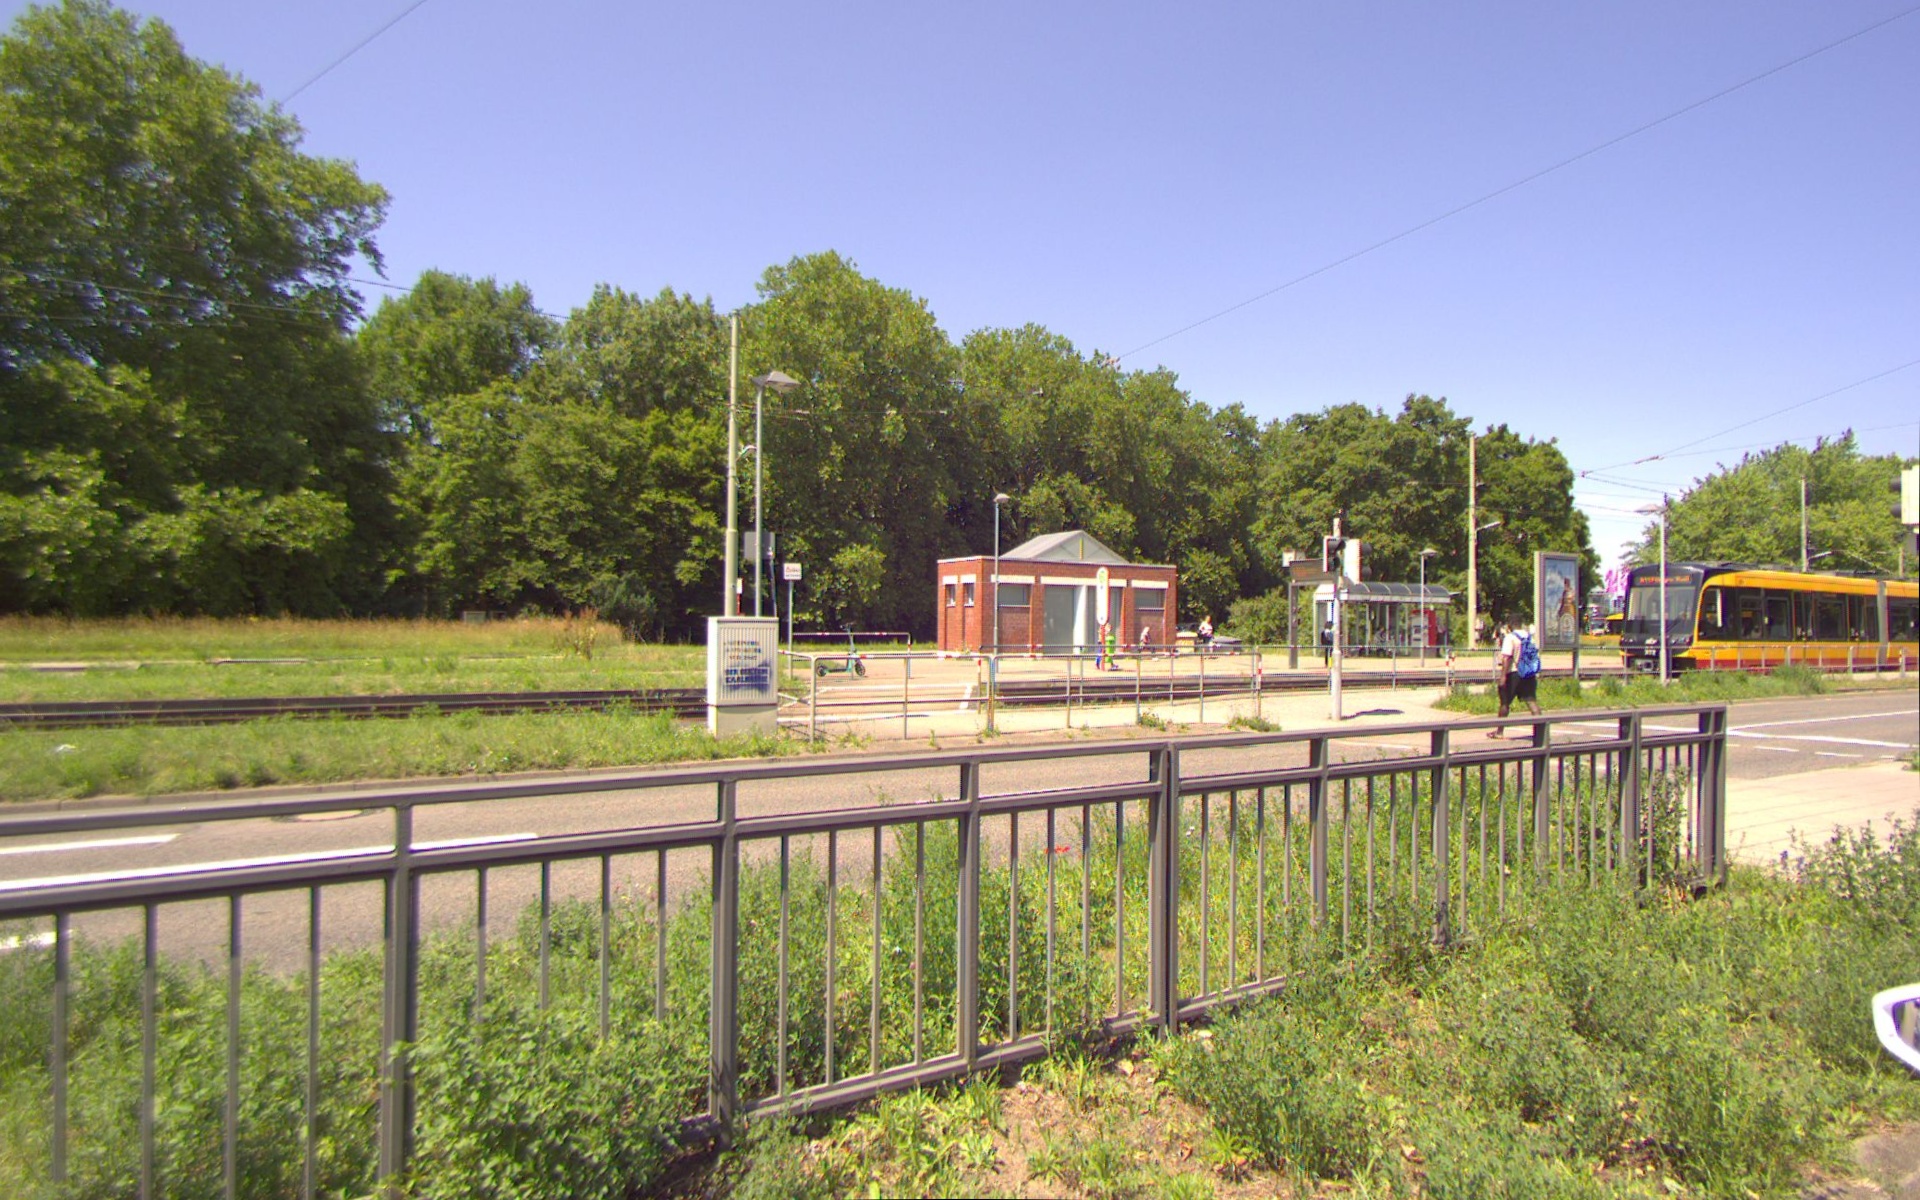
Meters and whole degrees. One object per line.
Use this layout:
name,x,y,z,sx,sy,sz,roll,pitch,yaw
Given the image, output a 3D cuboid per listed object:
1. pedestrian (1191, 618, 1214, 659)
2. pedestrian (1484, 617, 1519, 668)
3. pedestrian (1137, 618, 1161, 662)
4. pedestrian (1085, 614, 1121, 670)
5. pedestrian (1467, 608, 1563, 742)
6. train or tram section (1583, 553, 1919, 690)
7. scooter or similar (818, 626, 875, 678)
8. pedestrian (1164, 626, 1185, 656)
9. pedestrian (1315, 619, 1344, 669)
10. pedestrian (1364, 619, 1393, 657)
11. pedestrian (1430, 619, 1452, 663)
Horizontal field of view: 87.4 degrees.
pedestrian,8.774,1.384,36.293,0.573,1.476,0.639,1,-1,-14
pedestrian,20.028,1.550,37.151,0.832,1.802,0.714,-1,5,-30
pedestrian,6.600,1.388,35.069,0.563,1.499,0.636,1,-1,-30
pedestrian,4.201,1.223,29.482,0.799,1.611,0.668,1,-1,-30
pedestrian,7.824,1.046,14.184,0.711,1.801,0.836,-1,-3,-30
train or tram section,32.369,0.915,36.672,29.680,3.799,2.944,1,-1,-31
scooter or similar,-2.642,1.205,23.448,1.217,1.183,0.508,1,-1,-30
pedestrian,8.258,1.559,38.634,0.560,1.139,0.639,1,-1,-15
pedestrian,11.920,1.398,32.377,0.688,1.575,0.629,1,-1,-42
pedestrian,17.240,1.574,41.371,0.710,1.531,0.841,1,-1,-19
pedestrian,20.663,1.754,43.166,0.707,1.824,0.845,0,-1,17
